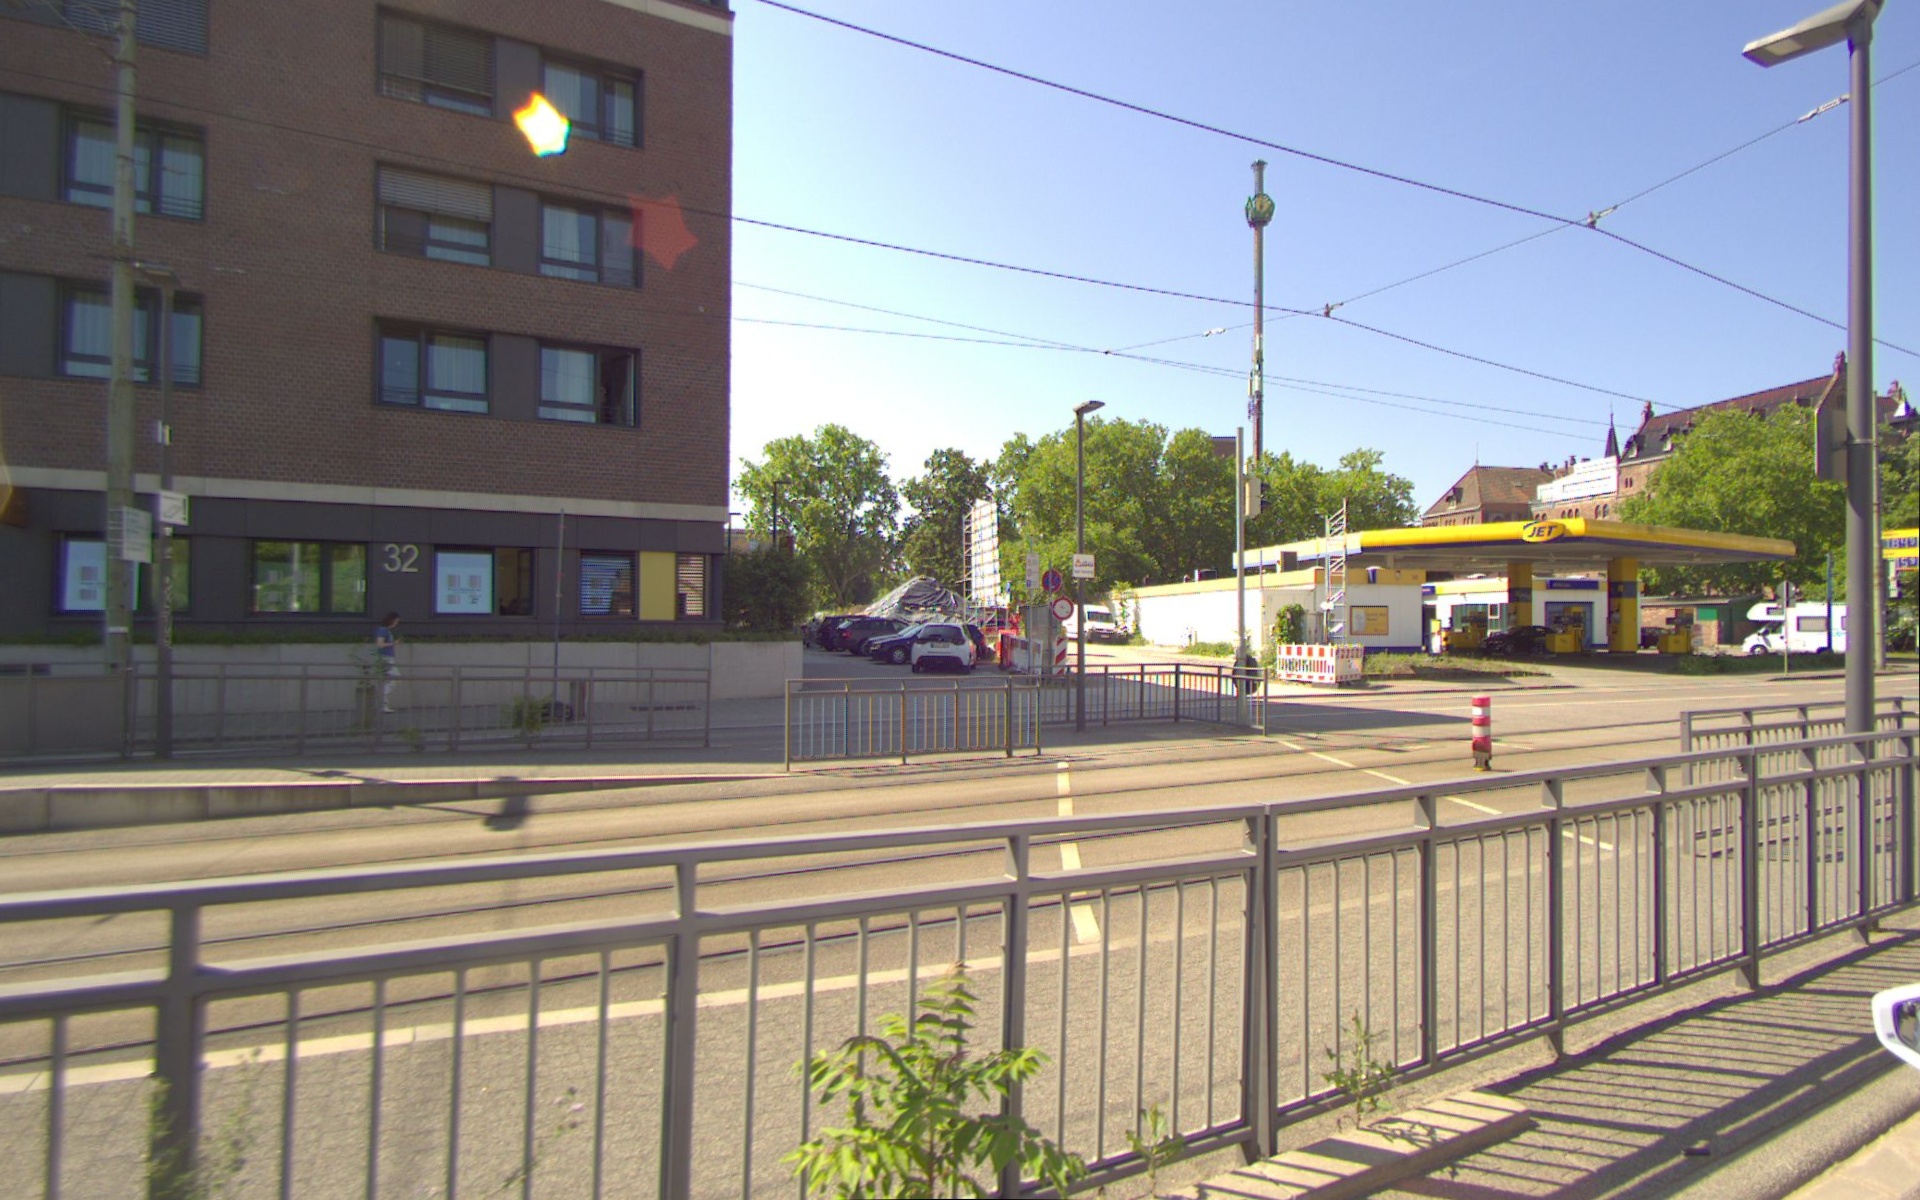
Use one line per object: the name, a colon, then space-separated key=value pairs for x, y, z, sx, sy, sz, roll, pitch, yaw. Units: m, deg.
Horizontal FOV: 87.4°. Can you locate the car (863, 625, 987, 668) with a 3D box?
car: x=-1.219 y=1.587 z=34.670 sx=3.987 sy=1.384 sz=1.864 roll=1 pitch=-1 yaw=-14

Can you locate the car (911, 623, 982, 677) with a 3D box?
car: x=-0.352 y=1.488 z=30.990 sx=1.766 sy=1.442 sz=4.002 roll=1 pitch=0 yaw=5

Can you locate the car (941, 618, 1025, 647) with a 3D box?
car: x=1.217 y=1.744 z=54.008 sx=4.175 sy=1.449 sz=1.826 roll=1 pitch=0 yaw=-16

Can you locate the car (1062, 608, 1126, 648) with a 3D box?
car: x=8.428 y=1.782 z=63.739 sx=2.288 sy=2.358 sz=5.649 roll=1 pitch=-2 yaw=-11

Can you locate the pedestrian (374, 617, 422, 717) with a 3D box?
pedestrian: x=-9.785 y=1.154 z=17.502 sx=0.691 sy=1.686 sz=0.578 roll=1 pitch=-2 yaw=-29

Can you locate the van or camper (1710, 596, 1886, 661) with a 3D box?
van or camper: x=44.421 y=1.439 z=53.457 sx=2.590 sy=3.007 sz=6.648 roll=1 pitch=1 yaw=-34

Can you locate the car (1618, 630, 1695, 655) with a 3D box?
car: x=46.467 y=2.801 z=67.092 sx=1.902 sy=1.547 sz=4.166 roll=1 pitch=-1 yaw=-9

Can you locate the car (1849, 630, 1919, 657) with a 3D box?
car: x=57.669 y=2.663 z=61.515 sx=4.485 sy=1.646 sz=1.951 roll=0 pitch=-1 yaw=10

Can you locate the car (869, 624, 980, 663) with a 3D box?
car: x=-1.370 y=1.606 z=37.518 sx=3.982 sy=1.384 sz=1.867 roll=1 pitch=-1 yaw=-8

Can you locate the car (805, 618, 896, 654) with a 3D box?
car: x=-5.172 y=1.683 z=47.207 sx=3.990 sy=1.588 sz=1.769 roll=1 pitch=-1 yaw=-16

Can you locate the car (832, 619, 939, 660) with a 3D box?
car: x=-3.001 y=1.575 z=40.264 sx=3.991 sy=1.552 sz=1.812 roll=1 pitch=-1 yaw=-17

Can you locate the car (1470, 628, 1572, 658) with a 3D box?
car: x=28.002 y=2.143 z=50.177 sx=4.311 sy=1.320 sz=1.699 roll=1 pitch=0 yaw=-10

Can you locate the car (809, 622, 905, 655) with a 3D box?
car: x=-4.550 y=1.684 z=44.197 sx=3.990 sy=1.402 sz=1.798 roll=1 pitch=-1 yaw=-16

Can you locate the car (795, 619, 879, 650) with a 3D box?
car: x=-6.201 y=1.755 z=50.667 sx=3.990 sy=1.484 sz=1.730 roll=1 pitch=-1 yaw=-16
